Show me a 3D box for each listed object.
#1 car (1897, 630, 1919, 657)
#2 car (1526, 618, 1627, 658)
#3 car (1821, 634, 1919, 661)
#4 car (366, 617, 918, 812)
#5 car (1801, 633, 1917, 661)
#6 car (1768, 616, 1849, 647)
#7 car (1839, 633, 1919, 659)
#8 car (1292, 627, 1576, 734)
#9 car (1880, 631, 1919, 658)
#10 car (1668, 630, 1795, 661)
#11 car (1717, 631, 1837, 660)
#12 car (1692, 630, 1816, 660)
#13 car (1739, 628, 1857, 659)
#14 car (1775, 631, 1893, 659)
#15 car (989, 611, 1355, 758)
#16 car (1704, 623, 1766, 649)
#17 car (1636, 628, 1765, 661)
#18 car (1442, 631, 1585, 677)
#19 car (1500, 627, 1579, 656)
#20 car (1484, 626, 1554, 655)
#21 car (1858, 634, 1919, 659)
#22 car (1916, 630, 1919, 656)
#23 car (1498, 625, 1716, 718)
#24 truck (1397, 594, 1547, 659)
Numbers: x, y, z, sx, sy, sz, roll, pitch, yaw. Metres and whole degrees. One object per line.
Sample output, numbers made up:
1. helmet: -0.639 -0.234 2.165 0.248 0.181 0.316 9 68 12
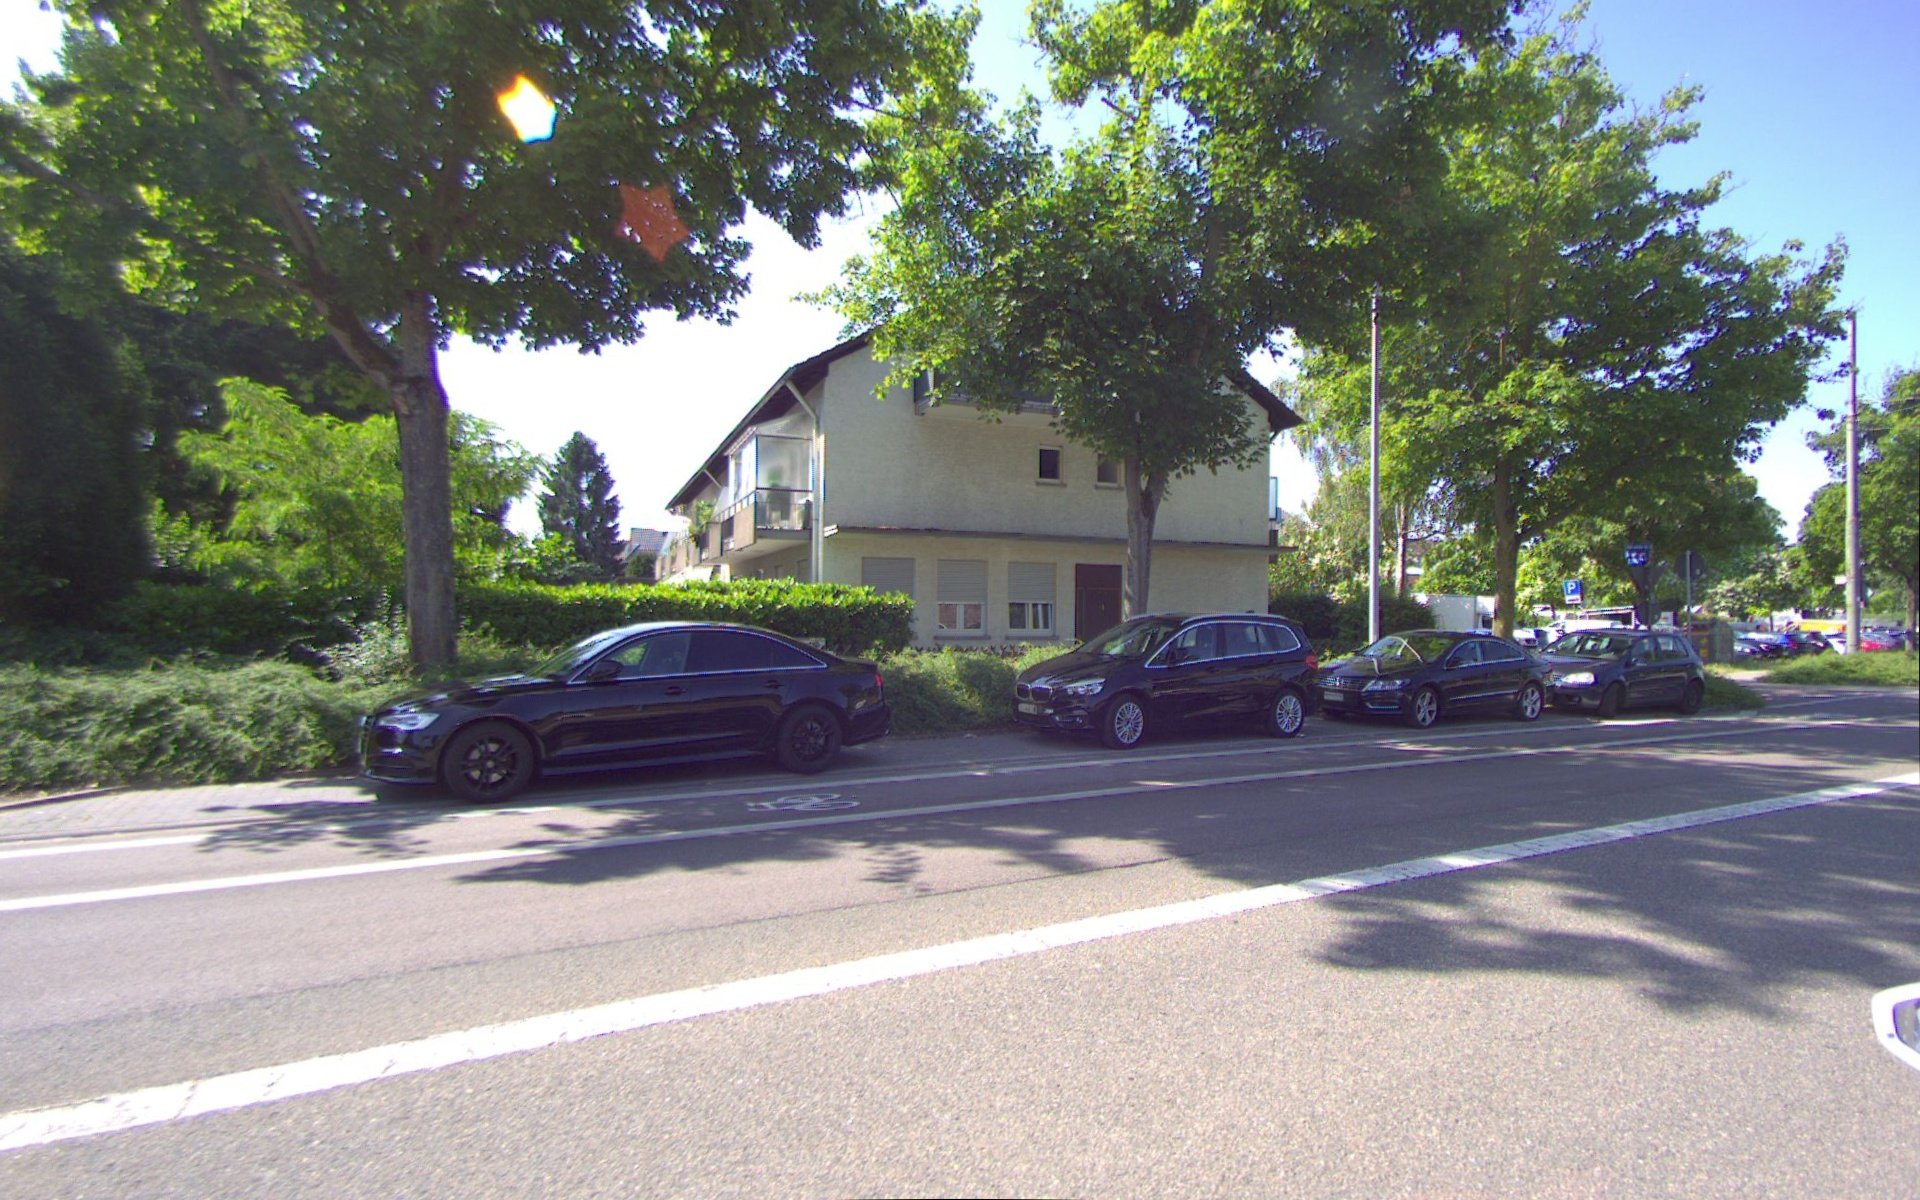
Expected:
1. car: 54.966 2.443 55.763 1.748 1.463 3.973 1 -1 -26
2. car: 36.363 2.208 59.386 1.979 2.040 4.664 2 1 -34
3. car: 46.692 2.397 51.144 1.748 1.241 3.973 1 -1 -26
4. car: -2.961 0.936 9.813 4.856 1.485 1.830 1 -1 -32
5. car: 44.513 2.307 49.826 1.748 1.241 3.973 1 -1 -26
6. car: 64.193 2.369 76.048 1.980 2.040 4.228 2 1 -35
7. car: 48.668 2.384 52.338 1.748 1.241 3.973 1 -1 -26
8. car: 7.621 1.191 16.017 4.726 1.398 1.682 1 2 -30
9. car: 52.847 2.415 54.485 1.748 1.420 3.973 1 -1 -26
10. car: 32.912 1.911 42.926 1.751 1.241 3.968 1 -1 -30
11. car: 37.681 2.072 46.452 1.748 1.241 3.973 1 -1 -26
12. car: 35.132 1.976 44.545 1.748 1.241 3.973 1 -1 -26
13. car: 39.850 2.063 47.883 1.748 1.368 3.973 1 -1 -26
14. car: 42.250 2.152 48.626 1.748 1.281 3.973 1 -1 -26
15. car: 2.894 1.003 13.318 4.836 1.627 1.753 1 0 -30
16. car: 58.517 2.669 75.927 1.534 1.901 3.406 1 -1 -31
17. car: 30.712 1.815 41.757 1.751 1.241 3.968 1 -1 -30
18. car: 18.540 1.835 33.817 1.730 1.426 3.886 0 -4 -28
19. car: 33.838 2.383 58.767 1.536 1.374 3.760 1 2 -25
20. car: 31.825 2.285 57.251 1.536 1.452 3.123 1 2 -25
21. car: 50.536 2.468 53.283 1.748 1.241 3.973 1 -1 -26
22. car: 57.180 2.483 56.955 1.748 1.463 3.973 1 -1 -26
23. car: 11.821 1.250 18.314 3.955 1.470 1.634 1 1 -29
24. truck: 27.576 1.361 54.458 2.206 3.059 7.104 1 2 -31
